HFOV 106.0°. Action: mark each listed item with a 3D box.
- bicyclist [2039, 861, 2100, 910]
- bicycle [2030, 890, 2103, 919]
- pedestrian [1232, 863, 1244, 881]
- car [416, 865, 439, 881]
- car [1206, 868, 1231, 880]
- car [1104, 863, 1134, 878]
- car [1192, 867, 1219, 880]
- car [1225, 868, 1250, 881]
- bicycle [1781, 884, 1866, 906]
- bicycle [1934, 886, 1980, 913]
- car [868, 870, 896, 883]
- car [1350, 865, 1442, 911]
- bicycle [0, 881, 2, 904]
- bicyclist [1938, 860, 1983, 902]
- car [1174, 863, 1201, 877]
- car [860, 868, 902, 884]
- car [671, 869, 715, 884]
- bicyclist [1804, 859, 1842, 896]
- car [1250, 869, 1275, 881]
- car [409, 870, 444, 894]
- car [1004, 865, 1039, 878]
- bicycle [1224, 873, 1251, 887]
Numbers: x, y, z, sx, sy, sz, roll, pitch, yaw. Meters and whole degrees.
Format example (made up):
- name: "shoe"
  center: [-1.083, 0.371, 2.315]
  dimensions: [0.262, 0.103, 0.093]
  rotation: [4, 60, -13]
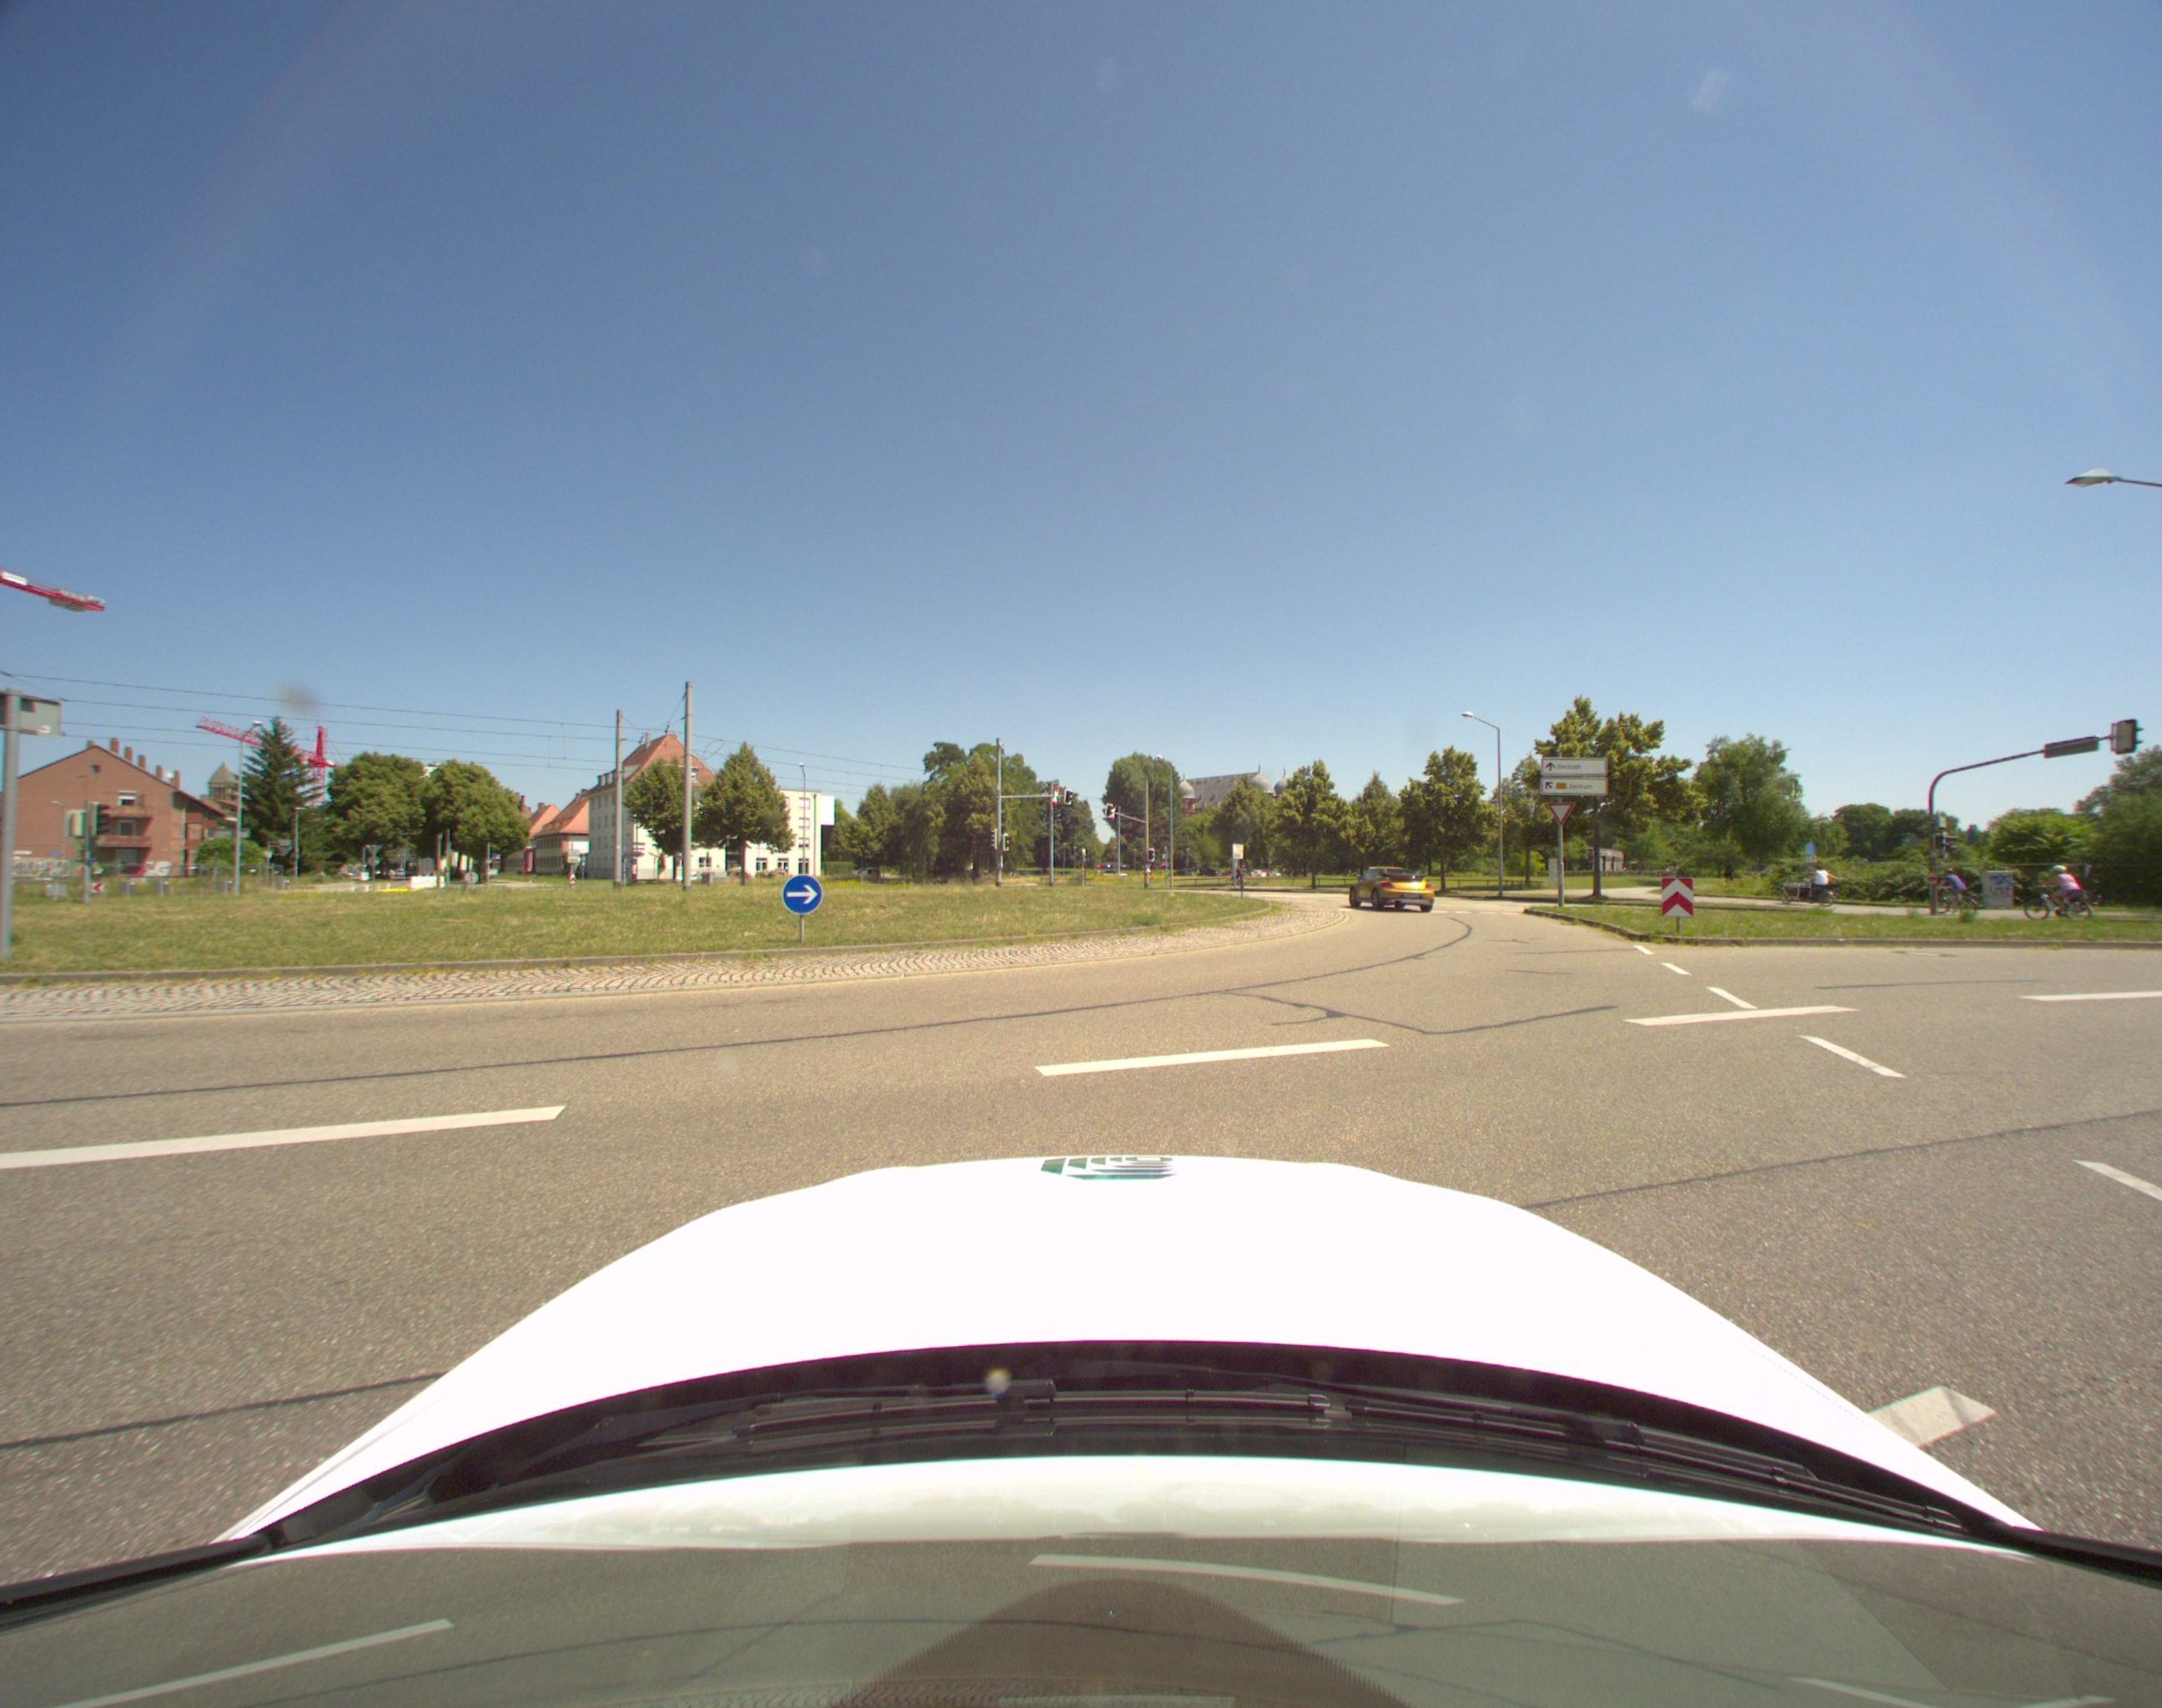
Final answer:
- name: "bicyclist"
  center: [33.174, 1.060, 27.359]
  dimensions: [0.947, 1.610, 1.193]
  rotation: [-1, -2, 32]
- name: "bicycle"
  center: [33.231, 1.694, 27.502]
  dimensions: [0.887, 0.900, 2.240]
  rotation: [1, -1, 32]
- name: "pedestrian"
  center: [12.810, 1.498, 66.441]
  dimensions: [0.808, 1.451, 0.713]
  rotation: [0, -3, 25]
- name: "car"
  center: [-81.337, 2.380, 101.364]
  dimensions: [2.009, 2.014, 3.955]
  rotation: [3, -3, -37]
- name: "car"
  center: [22.865, 3.356, 135.667]
  dimensions: [3.957, 2.014, 2.008]
  rotation: [0, -2, 15]
- name: "car"
  center: [5.519, 2.363, 117.530]
  dimensions: [3.957, 2.014, 2.008]
  rotation: [0, -2, 15]
- name: "car"
  center: [19.979, 3.121, 130.674]
  dimensions: [3.957, 2.014, 2.008]
  rotation: [0, -2, 15]
- name: "car"
  center: [26.516, 3.495, 137.635]
  dimensions: [3.957, 2.014, 2.008]
  rotation: [0, -2, 15]
- name: "bicycle"
  center: [32.832, 1.801, 36.097]
  dimensions: [0.738, 0.912, 2.918]
  rotation: [1, -2, -10]
- name: "bicycle"
  center: [33.164, 1.717, 30.862]
  dimensions: [0.887, 0.900, 1.774]
  rotation: [1, 1, 37]
- name: "car"
  center: [-30.987, 3.521, 127.095]
  dimensions: [3.986, 2.014, 1.993]
  rotation: [1, -2, -9]
- name: "car"
  center: [10.372, 1.097, 27.089]
  dimensions: [1.818, 1.403, 3.664]
  rotation: [1, -1, 3]
- name: "bicycle"
  center: [-57.598, 2.226, 42.066]
  dimensions: [0.553, 1.685, 2.098]
  rotation: [0, -3, 30]
- name: "bicyclist"
  center: [33.175, 0.991, 30.744]
  dimensions: [0.947, 1.531, 1.193]
  rotation: [-1, 0, 37]
- name: "car"
  center: [16.572, 2.485, 126.794]
  dimensions: [3.957, 2.014, 2.008]
  rotation: [0, -2, 15]
- name: "car"
  center: [-22.169, 2.433, 90.132]
  dimensions: [4.017, 1.684, 1.978]
  rotation: [3, -3, -36]
- name: "car"
  center: [-40.433, 2.335, 84.929]
  dimensions: [3.917, 1.420, 1.697]
  rotation: [3, -3, -36]
- name: "bicyclist"
  center: [32.862, 1.053, 36.065]
  dimensions: [0.753, 1.614, 0.975]
  rotation: [1, -2, -9]
- name: "car"
  center: [31.418, 3.707, 140.906]
  dimensions: [3.952, 2.014, 2.010]
  rotation: [0, -2, 22]
- name: "car"
  center: [-55.505, 2.379, 69.119]
  dimensions: [2.009, 2.014, 3.955]
  rotation: [3, -3, -37]
- name: "car"
  center: [-7.651, 2.255, 104.605]
  dimensions: [3.960, 1.574, 2.006]
  rotation: [1, -2, 12]
- name: "bicycle"
  center: [12.741, 2.113, 66.456]
  dimensions: [2.033, 1.115, 0.734]
  rotation: [0, -3, 25]
